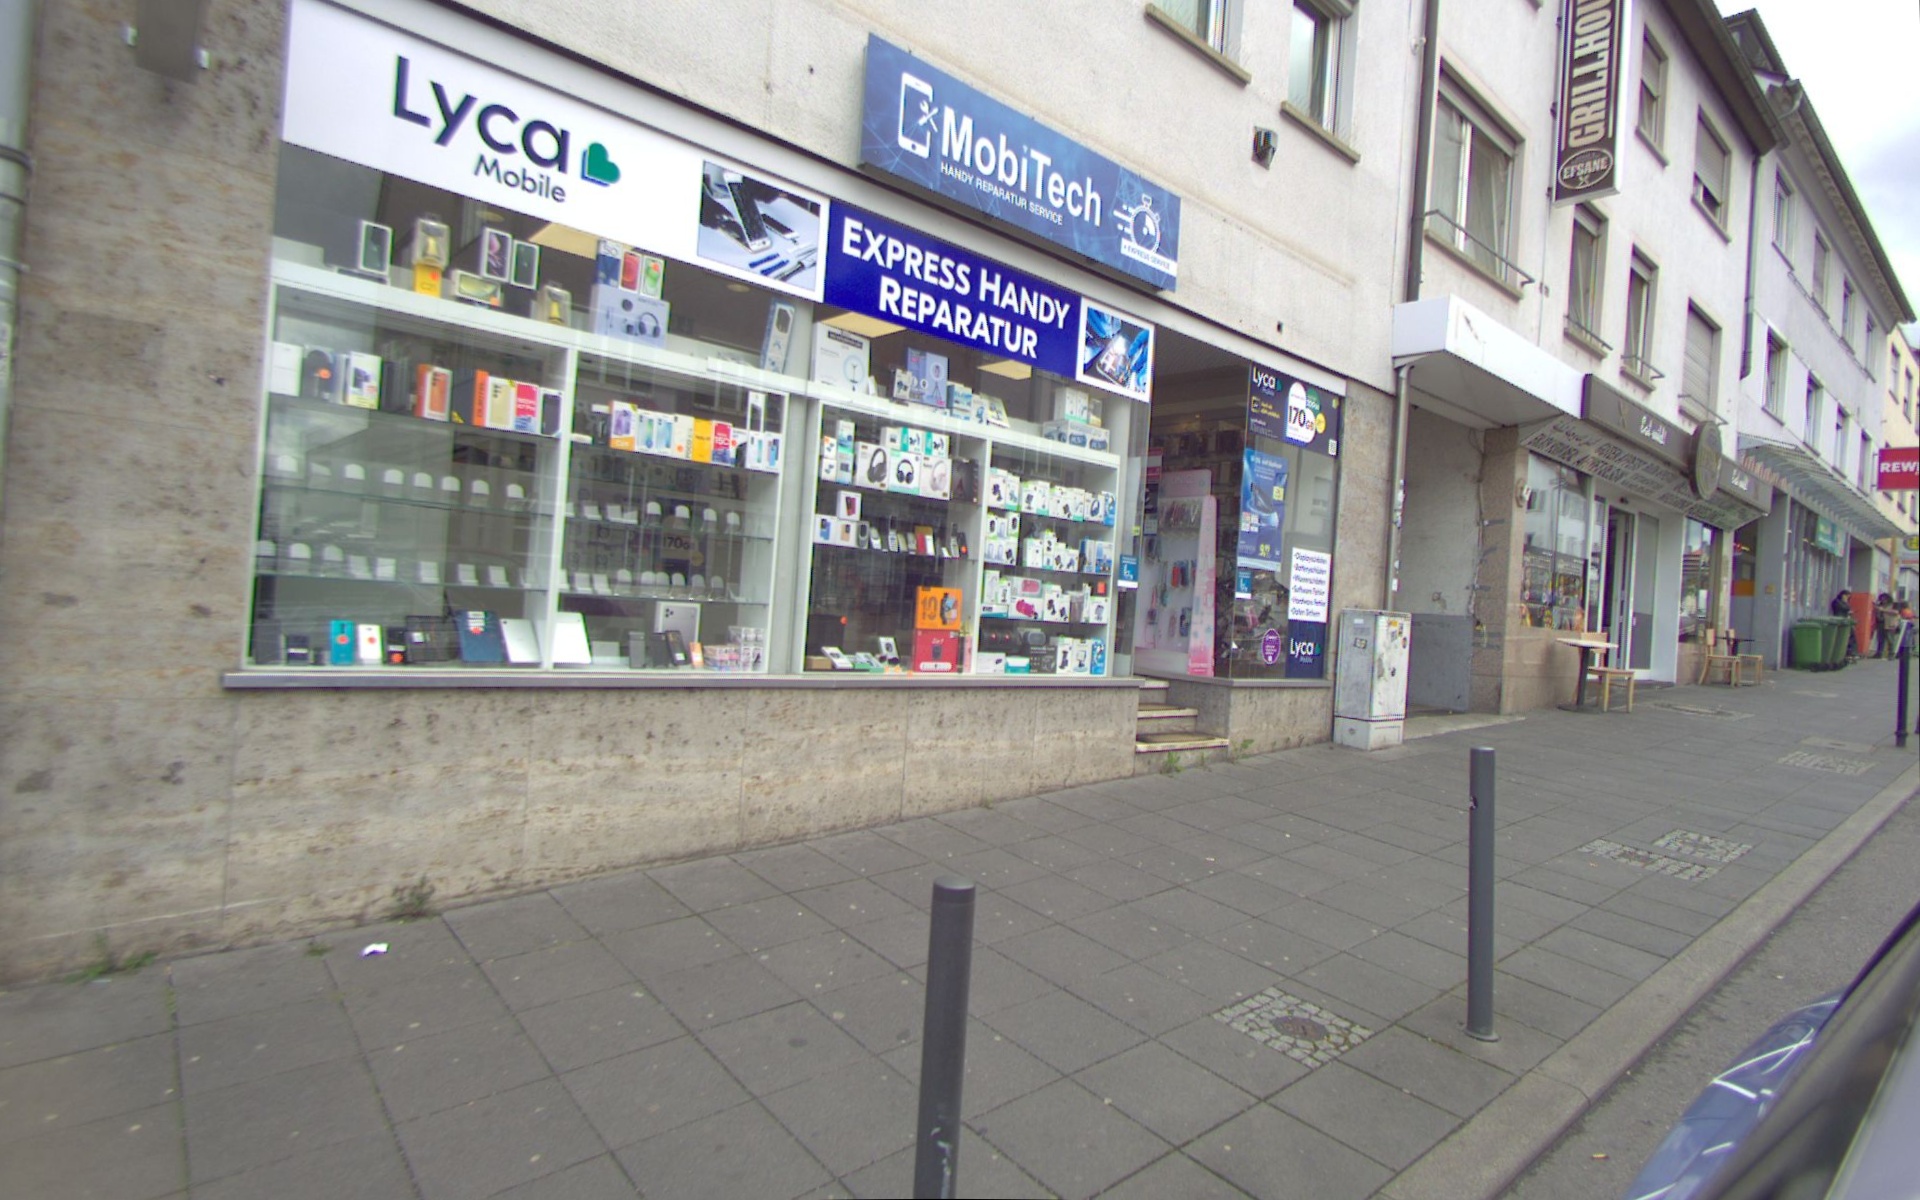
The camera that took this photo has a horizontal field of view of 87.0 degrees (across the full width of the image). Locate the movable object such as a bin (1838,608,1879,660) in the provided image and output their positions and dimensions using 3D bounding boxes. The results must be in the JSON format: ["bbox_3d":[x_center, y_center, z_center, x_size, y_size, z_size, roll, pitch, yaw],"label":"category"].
[{"bbox_3d":[19.403,0.720,21.863,0.549,1.070,0.559,1,2,-40],"label":"movable object such as a bin"}]

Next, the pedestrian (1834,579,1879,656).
[{"bbox_3d":[20.544,0.393,23.195,0.621,1.747,0.601,0,0,26],"label":"pedestrian"}]

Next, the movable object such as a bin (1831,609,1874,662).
[{"bbox_3d":[18.962,0.740,21.496,0.564,1.072,0.569,1,2,-40],"label":"movable object such as a bin"}]

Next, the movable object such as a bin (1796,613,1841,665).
[{"bbox_3d":[16.906,0.755,19.926,0.489,0.968,0.568,1,2,-40],"label":"movable object such as a bin"}]

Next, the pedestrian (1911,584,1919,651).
[{"bbox_3d":[26.624,0.482,27.717,0.618,1.845,0.604,0,0,15],"label":"pedestrian"}]

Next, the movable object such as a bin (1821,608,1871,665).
[{"bbox_3d":[18.003,0.734,20.562,0.661,1.094,0.652,1,2,-40],"label":"movable object such as a bin"}]

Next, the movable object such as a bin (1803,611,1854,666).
[{"bbox_3d":[17.383,0.764,20.257,0.550,1.043,0.670,1,2,-40],"label":"movable object such as a bin"}]

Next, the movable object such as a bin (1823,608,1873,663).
[{"bbox_3d":[18.490,0.730,21.074,0.648,1.094,0.652,1,2,-40],"label":"movable object such as a bin"}]

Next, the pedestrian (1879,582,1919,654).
[{"bbox_3d":[23.704,0.440,25.541,0.626,1.746,0.597,5,4,44],"label":"pedestrian"}]

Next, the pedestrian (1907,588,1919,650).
[{"bbox_3d":[27.235,0.525,28.515,0.599,1.747,0.623,0,0,20],"label":"pedestrian"}]
